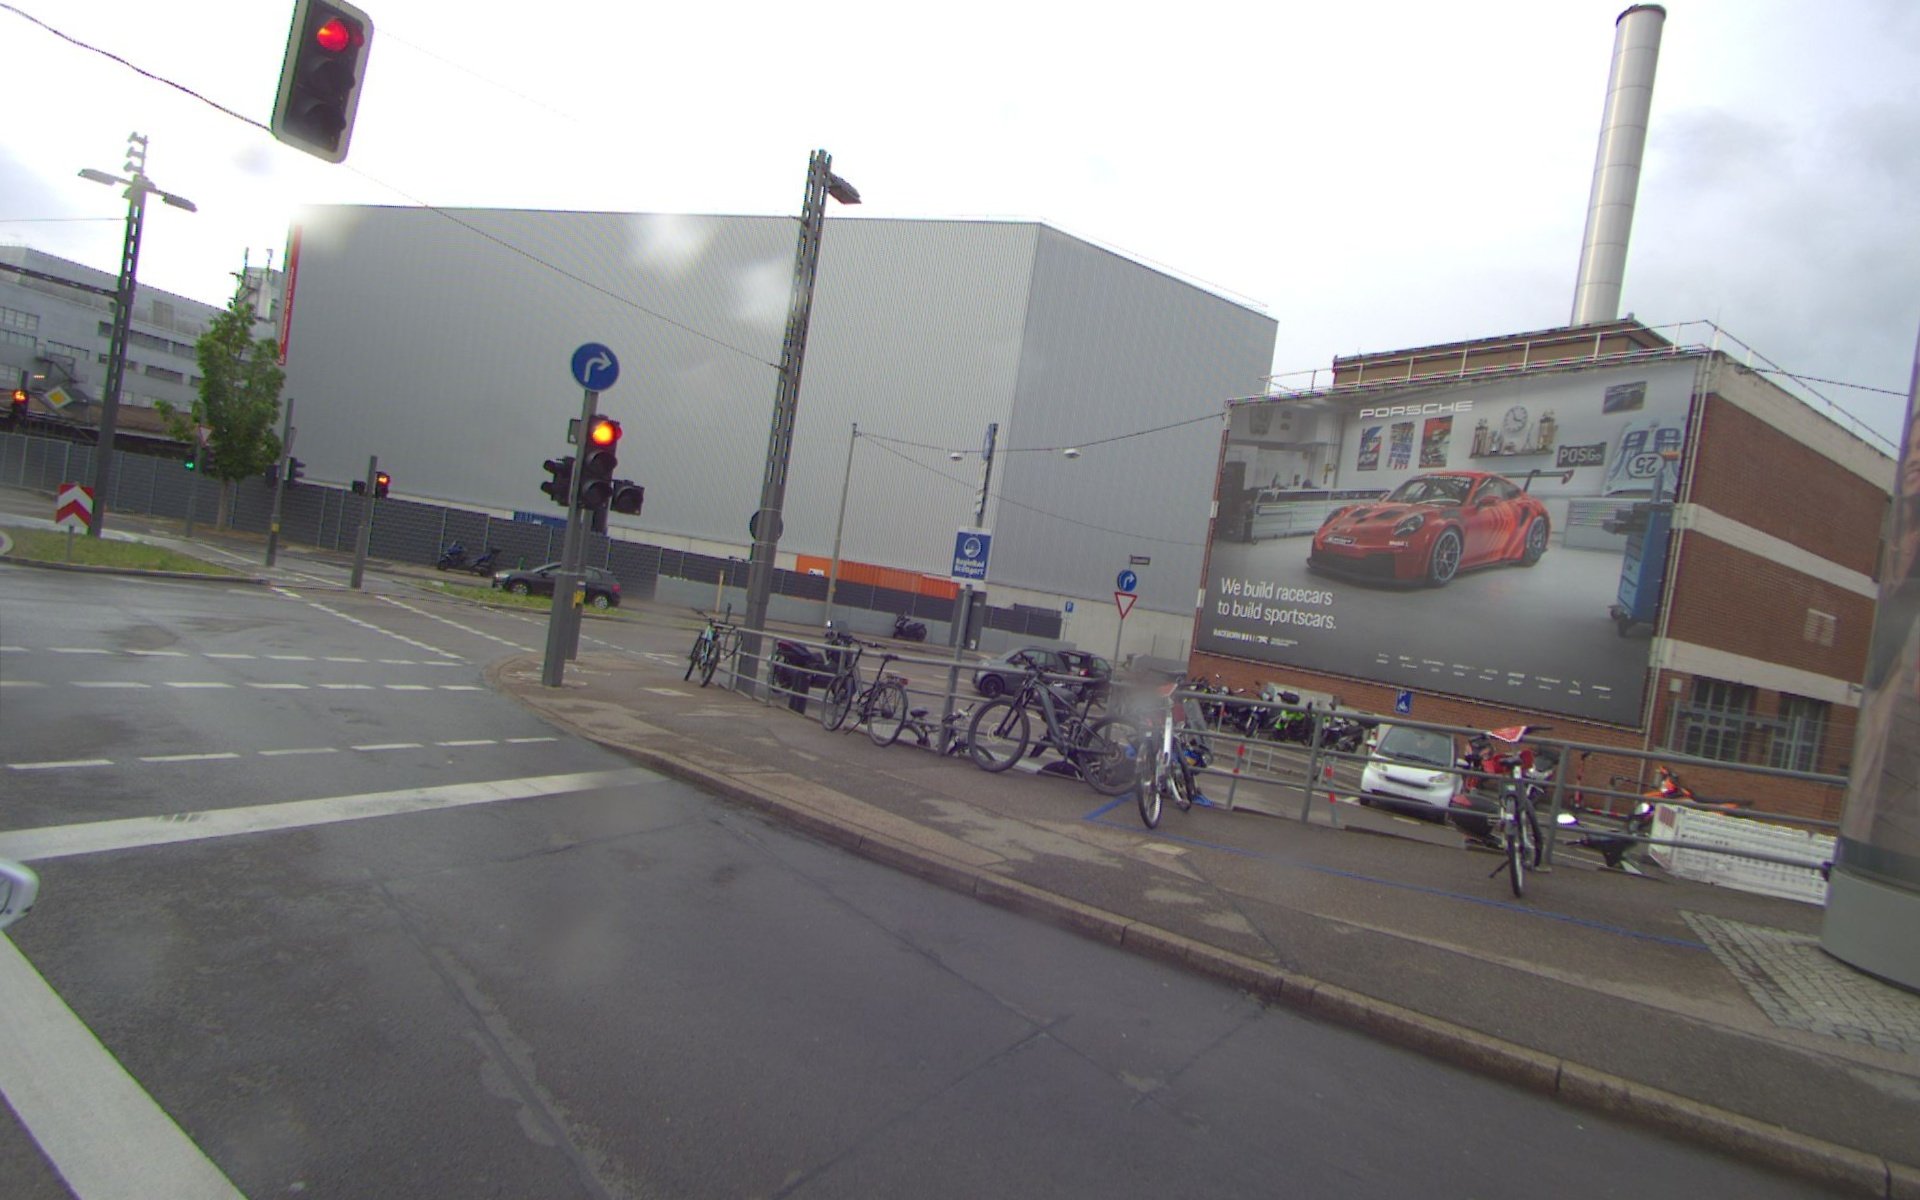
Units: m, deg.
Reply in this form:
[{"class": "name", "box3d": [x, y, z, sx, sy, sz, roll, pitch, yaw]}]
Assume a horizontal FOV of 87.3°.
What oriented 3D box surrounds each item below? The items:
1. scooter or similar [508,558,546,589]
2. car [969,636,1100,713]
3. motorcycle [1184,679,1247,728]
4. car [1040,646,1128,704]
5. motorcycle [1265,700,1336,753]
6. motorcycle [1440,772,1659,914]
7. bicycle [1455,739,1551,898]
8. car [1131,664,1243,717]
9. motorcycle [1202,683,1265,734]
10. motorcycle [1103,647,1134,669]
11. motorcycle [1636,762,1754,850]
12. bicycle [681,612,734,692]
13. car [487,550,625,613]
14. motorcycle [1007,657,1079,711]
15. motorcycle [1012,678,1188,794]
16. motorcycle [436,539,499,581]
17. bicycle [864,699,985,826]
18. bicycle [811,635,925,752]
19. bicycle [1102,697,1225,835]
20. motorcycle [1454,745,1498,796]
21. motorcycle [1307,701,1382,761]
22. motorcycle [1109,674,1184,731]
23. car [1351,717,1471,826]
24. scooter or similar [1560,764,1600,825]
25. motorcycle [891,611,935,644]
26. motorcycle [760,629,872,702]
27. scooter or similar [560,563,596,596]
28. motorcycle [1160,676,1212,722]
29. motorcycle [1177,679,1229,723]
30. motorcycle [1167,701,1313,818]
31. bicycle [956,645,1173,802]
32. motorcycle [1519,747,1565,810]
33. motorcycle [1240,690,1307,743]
[{"class": "scooter or similar", "box3d": [-17.882, -1.088, 41.565, 1.247, 1.041, 0.385, 9, 0, 0]}, {"class": "car", "box3d": [1.979, 2.013, 27.388, 3.190, 1.521, 1.624, 9, 0, -4]}, {"class": "motorcycle", "box3d": [7.219, 2.926, 28.408, 1.631, 1.194, 0.670, 8, -2, -30]}, {"class": "car", "box3d": [4.128, 2.492, 33.276, 1.530, 1.510, 2.745, 11, 0, 37]}, {"class": "motorcycle", "box3d": [8.487, 3.149, 25.030, 1.789, 1.132, 0.474, 8, -2, -28]}, {"class": "motorcycle", "box3d": [5.086, 2.087, 8.765, 1.512, 0.901, 0.403, 6, 0, 19]}, {"class": "bicycle", "box3d": [4.048, 1.554, 7.450, 0.414, 0.933, 1.613, 8, 0, 32]}, {"class": "car", "box3d": [8.351, 3.332, 36.833, 4.070, 1.460, 1.554, 9, -2, -35]}, {"class": "motorcycle", "box3d": [7.395, 2.941, 27.195, 1.631, 1.194, 0.541, 8, -2, -30]}, {"class": "motorcycle", "box3d": [10.101, 3.716, 64.242, 0.622, 1.088, 1.906, 8, 0, -38]}, {"class": "motorcycle", "box3d": [14.128, 3.950, 19.380, 1.639, 1.349, 0.524, 6, -1, 21]}, {"class": "bicycle", "box3d": [-4.090, 0.806, 16.228, 0.416, 1.143, 2.064, 7, -2, -22]}, {"class": "car", "box3d": [-13.483, -0.601, 33.618, 3.958, 1.442, 1.707, 9, -1, -30]}, {"class": "motorcycle", "box3d": [2.113, 2.139, 25.641, 1.702, 1.159, 0.492, 8, -2, -24]}, {"class": "motorcycle", "box3d": [1.405, 1.368, 10.359, 1.722, 0.906, 0.545, 6, -1, 44]}, {"class": "motorcycle", "box3d": [-19.820, -1.598, 40.502, 2.082, 1.326, 0.649, 10, 0, -33]}, {"class": "bicycle", "box3d": [-0.428, 1.759, 11.139, 0.344, 1.097, 1.728, 7, -1, -35]}, {"class": "bicycle", "box3d": [-1.071, 1.014, 11.321, 0.344, 1.097, 1.728, 7, -1, -35]}, {"class": "bicycle", "box3d": [1.741, 1.330, 8.405, 0.414, 0.973, 1.744, 6, -1, 29]}, {"class": "motorcycle", "box3d": [11.314, 3.712, 22.031, 0.533, 0.984, 1.613, 6, -2, 36]}, {"class": "motorcycle", "box3d": [9.341, 3.194, 24.419, 1.788, 1.253, 0.540, 8, 1, -30]}, {"class": "motorcycle", "box3d": [4.472, 2.445, 24.247, 0.539, 1.123, 1.850, 8, -2, -32]}, {"class": "car", "box3d": [8.491, 3.080, 18.760, 1.541, 1.506, 3.996, 8, -1, 29]}, {"class": "scooter or similar", "box3d": [12.884, 4.017, 20.890, 0.496, 1.109, 1.635, 6, -2, 36]}, {"class": "motorcycle", "box3d": [-2.420, 1.412, 51.875, 2.082, 1.393, 0.649, 10, 0, -33]}, {"class": "motorcycle", "box3d": [-2.596, 1.218, 18.378, 0.481, 1.158, 2.086, 6, -3, 41]}, {"class": "scooter or similar", "box3d": [-16.284, -0.883, 42.867, 1.253, 1.213, 0.423, 9, 0, -18]}, {"class": "motorcycle", "box3d": [6.685, 2.917, 29.795, 0.538, 1.133, 1.593, 8, -2, -25]}, {"class": "motorcycle", "box3d": [7.388, 3.070, 30.632, 0.538, 1.123, 1.639, 8, -2, -25]}, {"class": "motorcycle", "box3d": [2.711, 1.521, 9.755, 1.241, 0.901, 0.434, 6, 0, 23]}, {"class": "bicycle", "box3d": [0.972, 1.149, 9.716, 1.981, 1.189, 0.400, 6, 0, 30]}, {"class": "motorcycle", "box3d": [12.356, 3.759, 21.332, 0.576, 1.165, 1.717, 6, -2, 36]}, {"class": "motorcycle", "box3d": [8.200, 3.041, 26.303, 1.695, 1.194, 0.541, 8, -2, -30]}]
